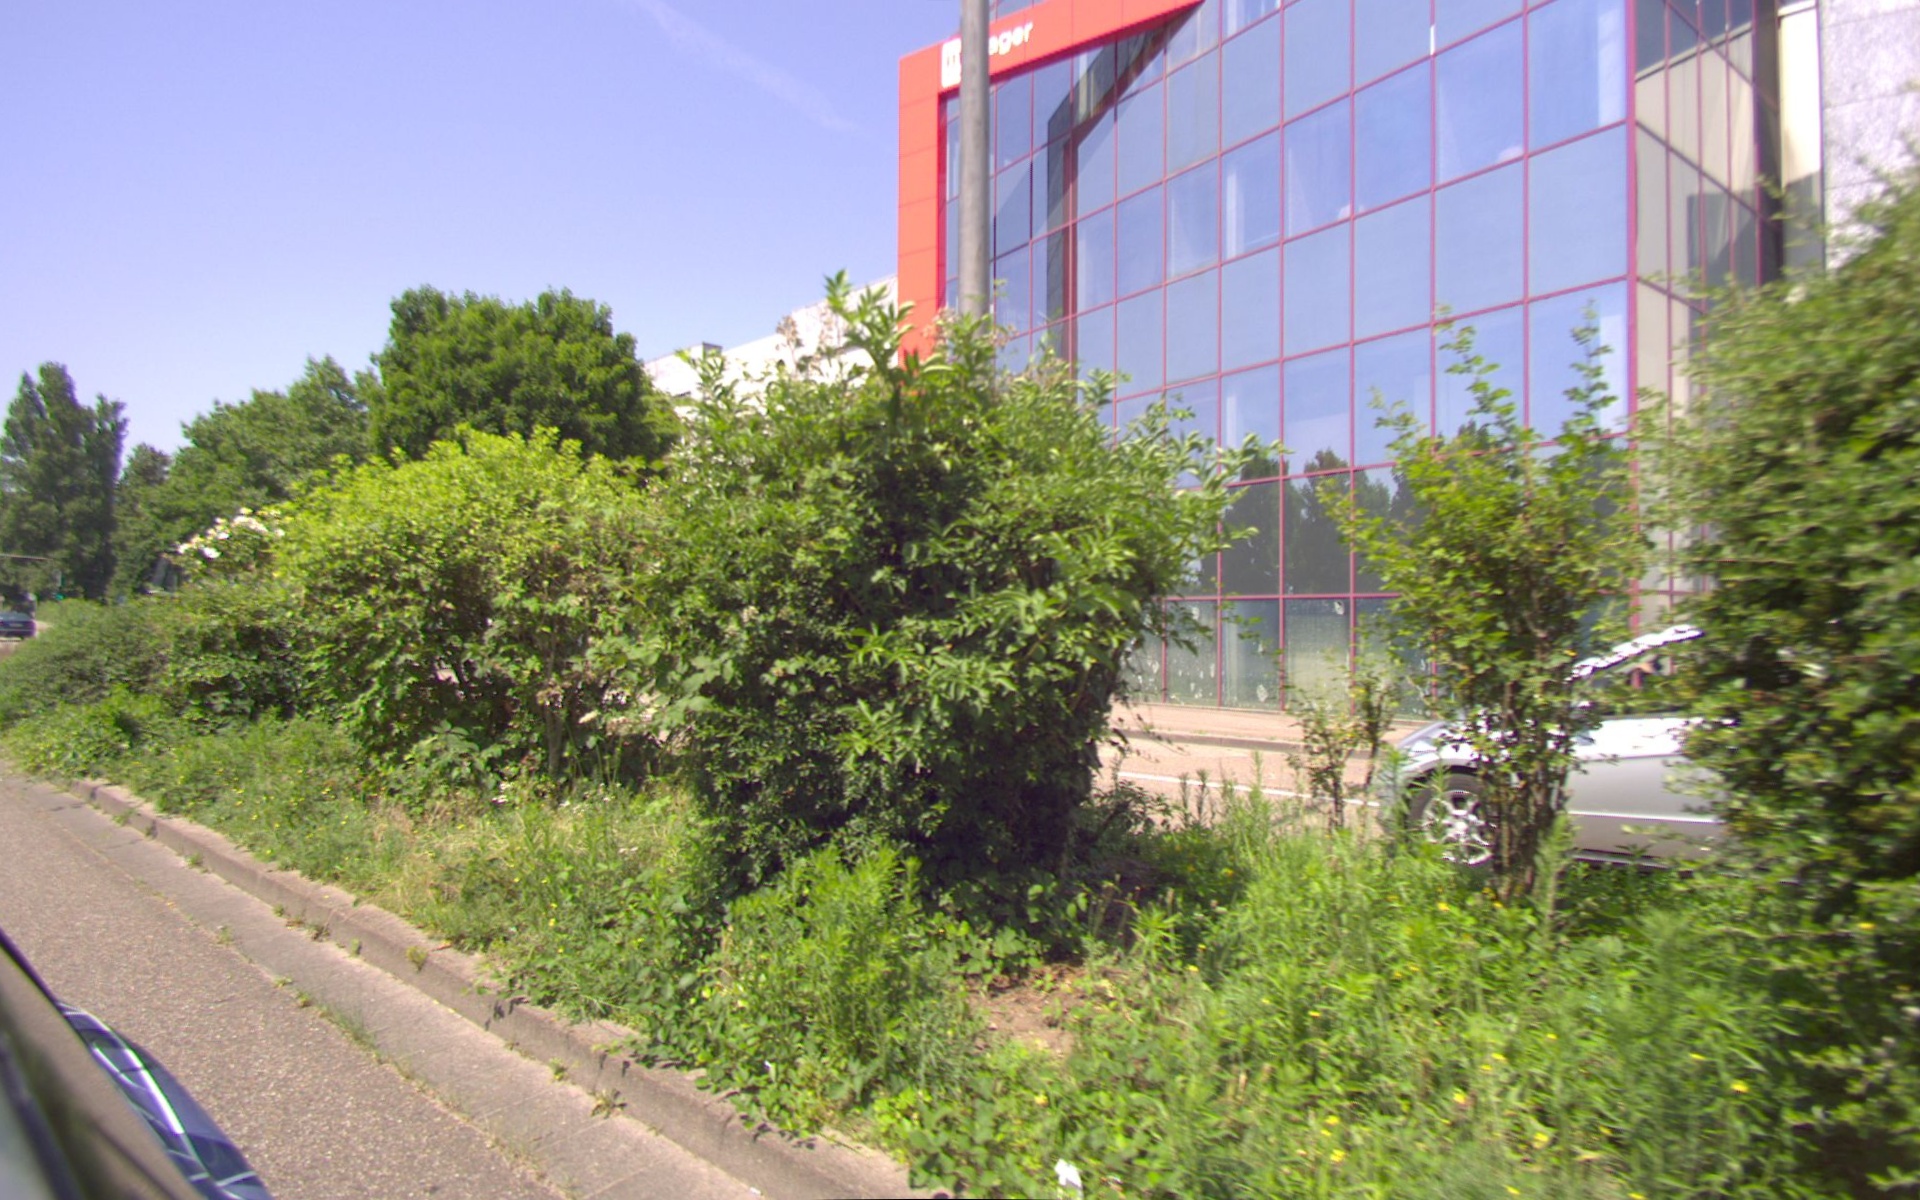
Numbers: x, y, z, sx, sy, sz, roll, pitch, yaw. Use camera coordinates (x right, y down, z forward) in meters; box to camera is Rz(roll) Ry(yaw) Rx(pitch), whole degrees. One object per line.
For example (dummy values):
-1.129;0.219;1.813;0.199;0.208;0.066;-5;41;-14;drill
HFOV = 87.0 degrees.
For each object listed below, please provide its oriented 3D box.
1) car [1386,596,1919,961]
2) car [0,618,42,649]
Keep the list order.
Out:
4.660;0.834;5.410;3.999;1.608;1.907;-1;-3;42;car
-47.278;1.646;50.335;4.242;1.427;1.705;-1;-4;39;car
